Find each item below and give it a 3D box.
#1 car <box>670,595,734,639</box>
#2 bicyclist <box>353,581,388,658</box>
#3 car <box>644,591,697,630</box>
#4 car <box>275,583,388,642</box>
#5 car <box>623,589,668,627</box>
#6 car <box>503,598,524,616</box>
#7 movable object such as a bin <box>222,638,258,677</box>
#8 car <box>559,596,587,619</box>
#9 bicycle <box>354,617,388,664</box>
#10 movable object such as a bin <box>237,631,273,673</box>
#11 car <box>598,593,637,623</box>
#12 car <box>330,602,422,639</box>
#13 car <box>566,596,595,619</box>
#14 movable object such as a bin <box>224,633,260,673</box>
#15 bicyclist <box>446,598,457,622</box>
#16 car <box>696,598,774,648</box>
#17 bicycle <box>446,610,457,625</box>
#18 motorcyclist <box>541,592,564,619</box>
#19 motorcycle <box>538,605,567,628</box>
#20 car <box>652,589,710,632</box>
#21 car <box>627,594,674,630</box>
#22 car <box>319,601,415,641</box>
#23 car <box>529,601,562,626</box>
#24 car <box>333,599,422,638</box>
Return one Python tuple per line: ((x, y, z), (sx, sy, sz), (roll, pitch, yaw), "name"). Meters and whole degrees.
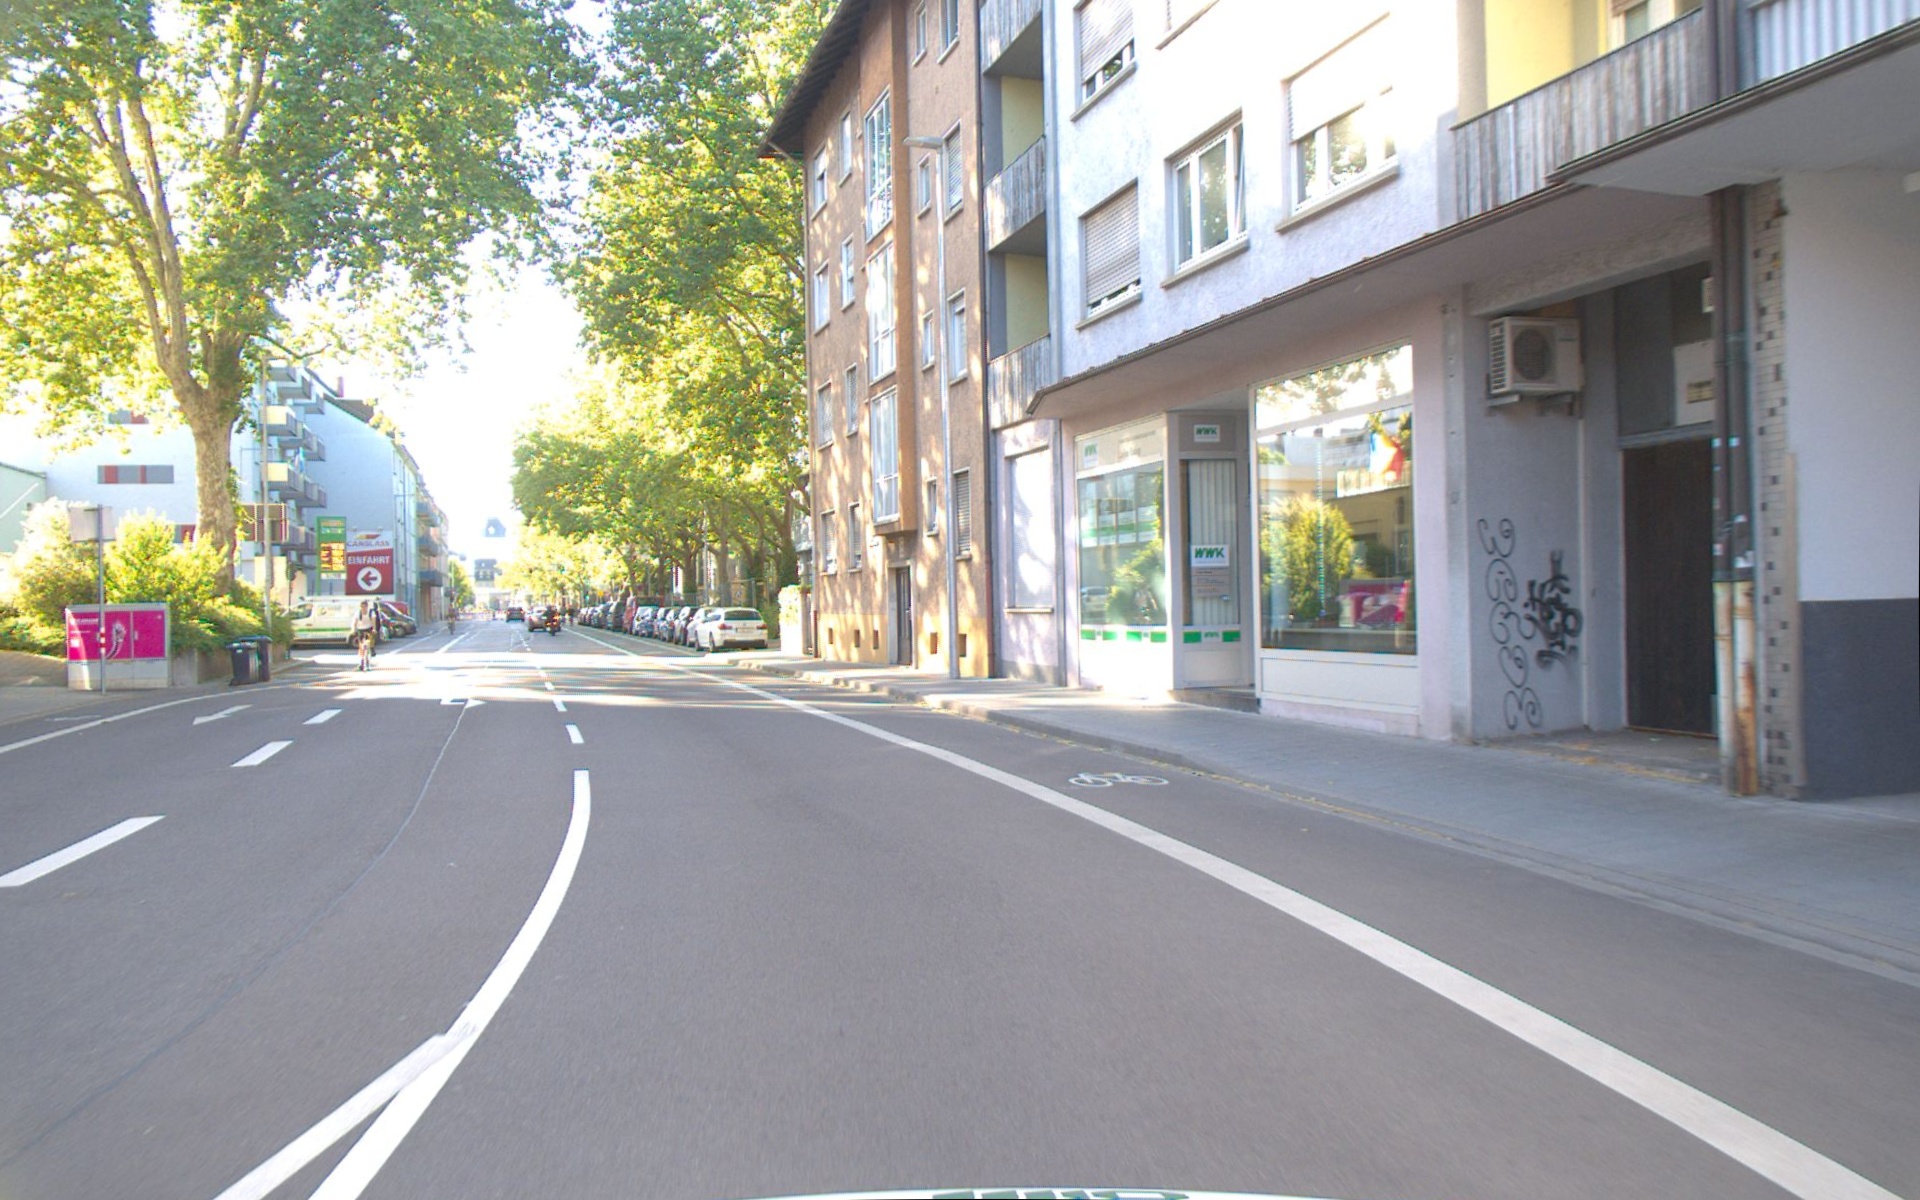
((-10.294, 0.656, 65.837), (2.000, 1.645, 4.075), (-1, 0, -16), "car")
((-15.480, 0.502, 43.444), (0.803, 1.981, 0.852), (-1, 0, -20), "bicyclist")
((-13.564, 0.466, 77.372), (2.000, 1.749, 4.075), (-1, 0, -16), "car")
((-25.908, 0.501, 68.296), (4.237, 2.264, 1.989), (-1, 0, -19), "car")
((-17.145, 0.438, 90.014), (2.000, 1.968, 4.075), (-1, 0, -16), "car")
((-46.056, 0.757, 170.523), (2.000, 1.772, 4.075), (-1, 0, -16), "car")
((-16.520, 1.316, 37.944), (0.675, 0.867, 0.577), (1, 0, -16), "movable object such as a bin")
((-31.994, 0.611, 136.678), (2.000, 1.772, 4.075), (-1, 0, -16), "car")
((-15.460, 1.058, 43.415), (0.803, 1.159, 2.325), (-1, 0, -20), "bicycle")
((-16.864, 1.241, 39.573), (0.691, 0.982, 0.594), (1, 0, -16), "movable object such as a bin")
((-20.910, 0.485, 100.889), (2.000, 1.772, 4.075), (-1, 0, -16), "car")
((-26.966, 0.928, 76.460), (3.926, 1.624, 1.990), (-1, 0, -19), "car")
((-29.703, 0.592, 129.460), (2.000, 1.772, 4.075), (-1, 0, -16), "car")
((-16.716, 1.235, 38.528), (0.675, 0.922, 0.577), (1, 0, -16), "movable object such as a bin")
((-30.188, 0.572, 98.172), (0.533, 1.418, 0.505), (-1, 0, -22), "bicyclist")
((-7.493, 0.727, 54.791), (2.000, 1.531, 4.075), (-1, 0, -16), "car")
((-30.172, 1.052, 98.154), (0.533, 0.857, 1.594), (-1, 0, -21), "bicycle")
((-21.064, 0.301, 85.519), (0.958, 1.370, 1.129), (0, 0, -24), "motorcyclist")
((-21.065, 0.838, 85.531), (0.960, 1.151, 2.783), (0, 1, -24), "motorcycle")
((-12.087, 0.440, 71.435), (2.000, 1.790, 4.075), (-1, 0, -16), "car")
((-16.092, 0.601, 85.913), (2.000, 1.749, 4.075), (-1, 0, -16), "car")
((-26.279, 0.923, 73.424), (3.926, 1.624, 1.990), (-1, 0, -19), "car")
((-24.911, 0.784, 99.281), (1.891, 1.413, 3.984), (-1, 0, -15), "car")
((-27.751, 0.863, 78.932), (3.926, 1.773, 1.990), (-1, 0, -19), "car")
